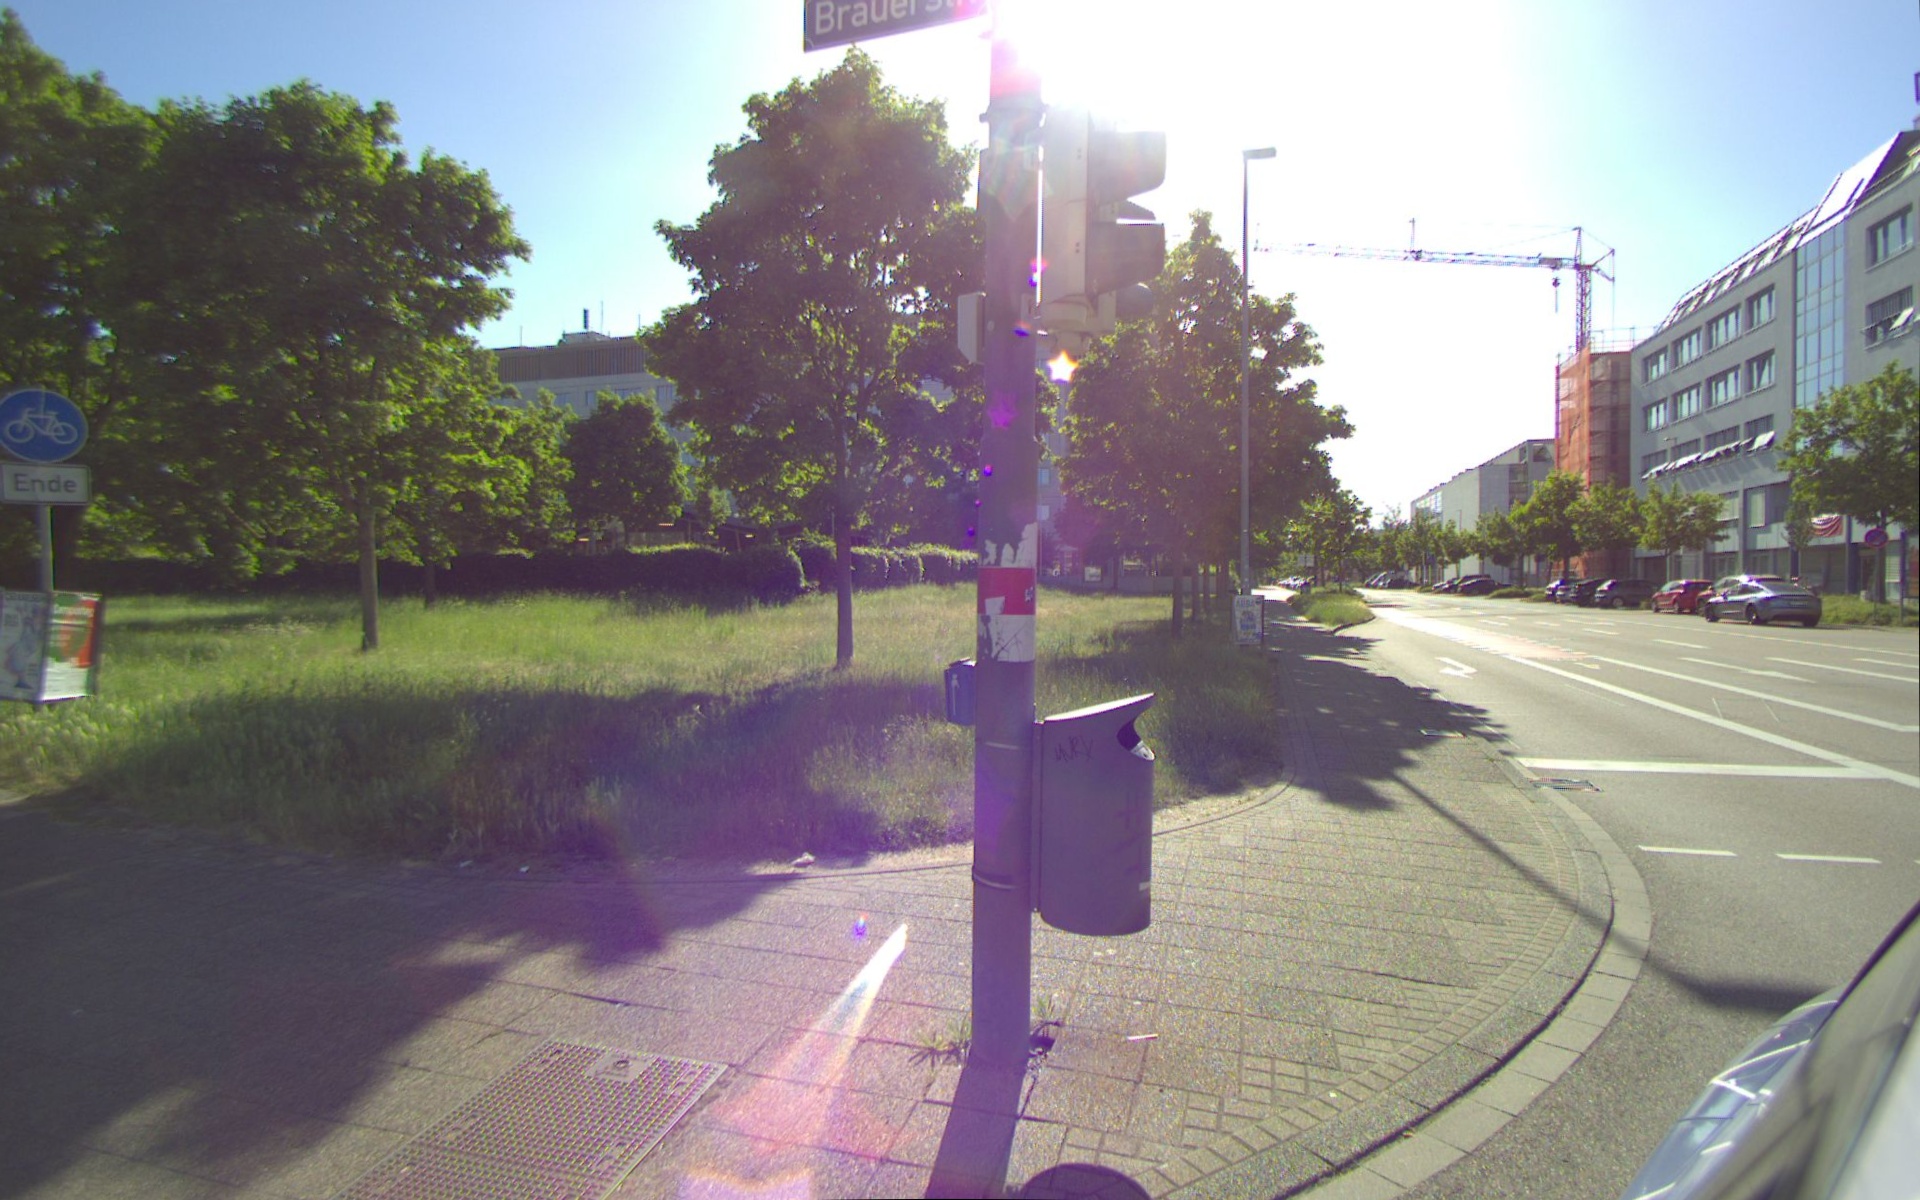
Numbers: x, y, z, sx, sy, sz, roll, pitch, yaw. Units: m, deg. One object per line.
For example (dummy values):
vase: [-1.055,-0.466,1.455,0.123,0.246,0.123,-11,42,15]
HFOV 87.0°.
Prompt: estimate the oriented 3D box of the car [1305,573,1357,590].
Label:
car: [33.634,-1.657,91.893,4.358,1.481,1.885,1,1,18]

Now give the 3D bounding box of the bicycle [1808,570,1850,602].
bicycle: [38.452,-0.628,44.815,0.703,1.364,2.216,1,2,22]

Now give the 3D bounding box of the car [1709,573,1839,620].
car: [27.554,-0.180,34.444,1.668,1.486,4.528,1,1,14]

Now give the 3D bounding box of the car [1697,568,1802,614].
car: [30.836,-0.381,39.679,1.669,1.627,4.291,-2,1,15]

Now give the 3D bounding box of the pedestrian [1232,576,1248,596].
pedestrian: [18.197,-0.918,65.793,0.832,1.232,0.728,1,1,5]

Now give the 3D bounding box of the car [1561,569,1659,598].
car: [37.335,-0.965,58.240,4.340,1.450,1.684,-2,0,18]

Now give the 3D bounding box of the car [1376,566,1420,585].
car: [62.966,-3.536,145.482,5.517,2.513,1.997,-2,0,20]

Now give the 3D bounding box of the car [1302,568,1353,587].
car: [34.126,-2.126,94.118,4.358,1.661,2.063,1,1,18]

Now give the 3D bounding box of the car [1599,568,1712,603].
car: [35.149,-0.727,51.254,4.333,1.557,1.687,-2,0,14]

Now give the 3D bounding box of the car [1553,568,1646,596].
car: [38.000,-1.060,60.253,4.340,1.450,1.684,-2,0,18]

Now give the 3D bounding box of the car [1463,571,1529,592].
car: [44.140,-1.525,83.418,4.334,1.450,1.969,-2,0,14]

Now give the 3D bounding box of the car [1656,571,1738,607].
car: [32.261,-0.513,44.426,1.670,1.450,3.851,-2,1,17]

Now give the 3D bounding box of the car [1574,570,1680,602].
car: [35.691,-0.750,54.269,4.336,1.450,1.686,-2,0,15]
